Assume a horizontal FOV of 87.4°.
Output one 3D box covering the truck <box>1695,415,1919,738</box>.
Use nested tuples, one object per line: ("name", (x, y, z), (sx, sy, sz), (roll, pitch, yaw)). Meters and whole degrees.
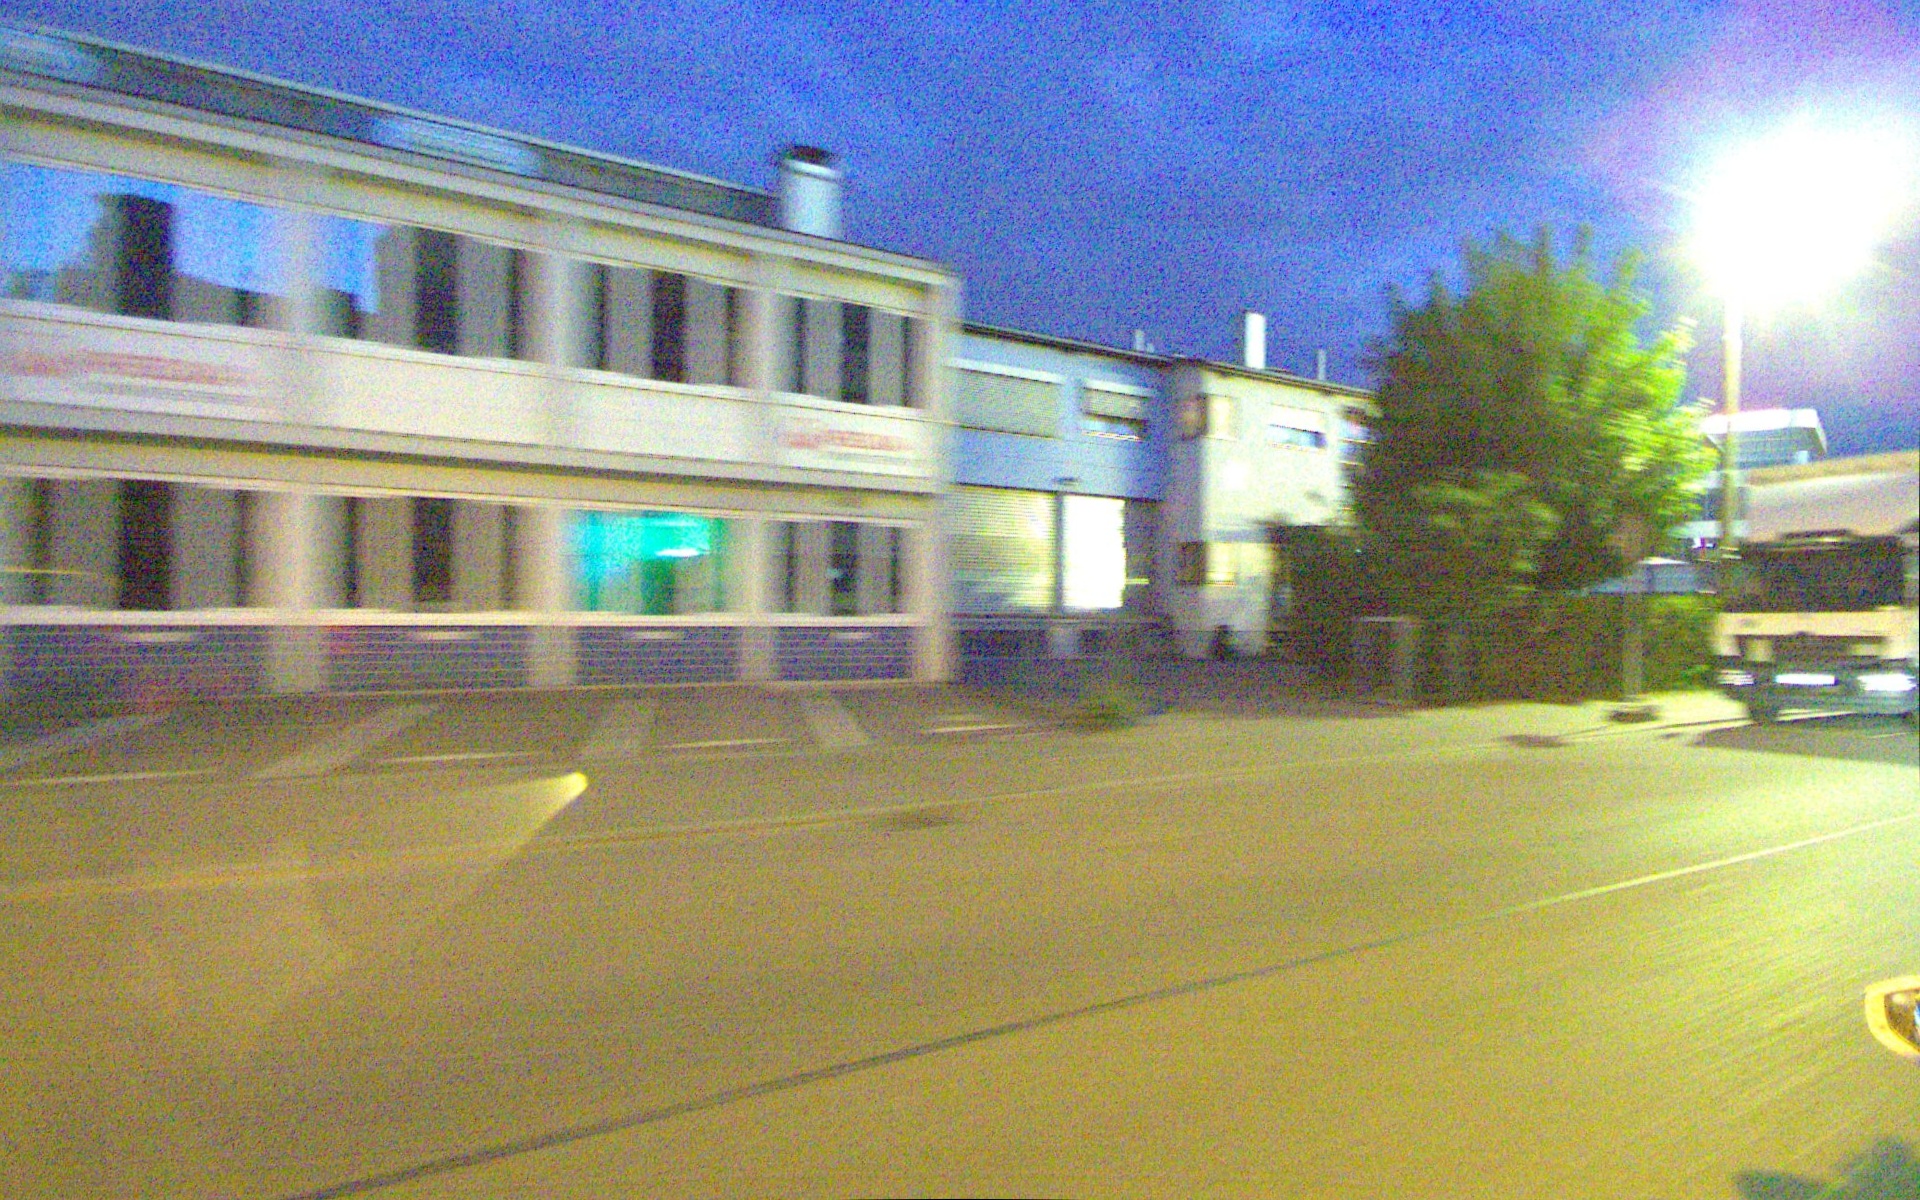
("truck", (15.571, -0.200, 16.155), (9.453, 4.087, 2.731), (1, -1, -32))
